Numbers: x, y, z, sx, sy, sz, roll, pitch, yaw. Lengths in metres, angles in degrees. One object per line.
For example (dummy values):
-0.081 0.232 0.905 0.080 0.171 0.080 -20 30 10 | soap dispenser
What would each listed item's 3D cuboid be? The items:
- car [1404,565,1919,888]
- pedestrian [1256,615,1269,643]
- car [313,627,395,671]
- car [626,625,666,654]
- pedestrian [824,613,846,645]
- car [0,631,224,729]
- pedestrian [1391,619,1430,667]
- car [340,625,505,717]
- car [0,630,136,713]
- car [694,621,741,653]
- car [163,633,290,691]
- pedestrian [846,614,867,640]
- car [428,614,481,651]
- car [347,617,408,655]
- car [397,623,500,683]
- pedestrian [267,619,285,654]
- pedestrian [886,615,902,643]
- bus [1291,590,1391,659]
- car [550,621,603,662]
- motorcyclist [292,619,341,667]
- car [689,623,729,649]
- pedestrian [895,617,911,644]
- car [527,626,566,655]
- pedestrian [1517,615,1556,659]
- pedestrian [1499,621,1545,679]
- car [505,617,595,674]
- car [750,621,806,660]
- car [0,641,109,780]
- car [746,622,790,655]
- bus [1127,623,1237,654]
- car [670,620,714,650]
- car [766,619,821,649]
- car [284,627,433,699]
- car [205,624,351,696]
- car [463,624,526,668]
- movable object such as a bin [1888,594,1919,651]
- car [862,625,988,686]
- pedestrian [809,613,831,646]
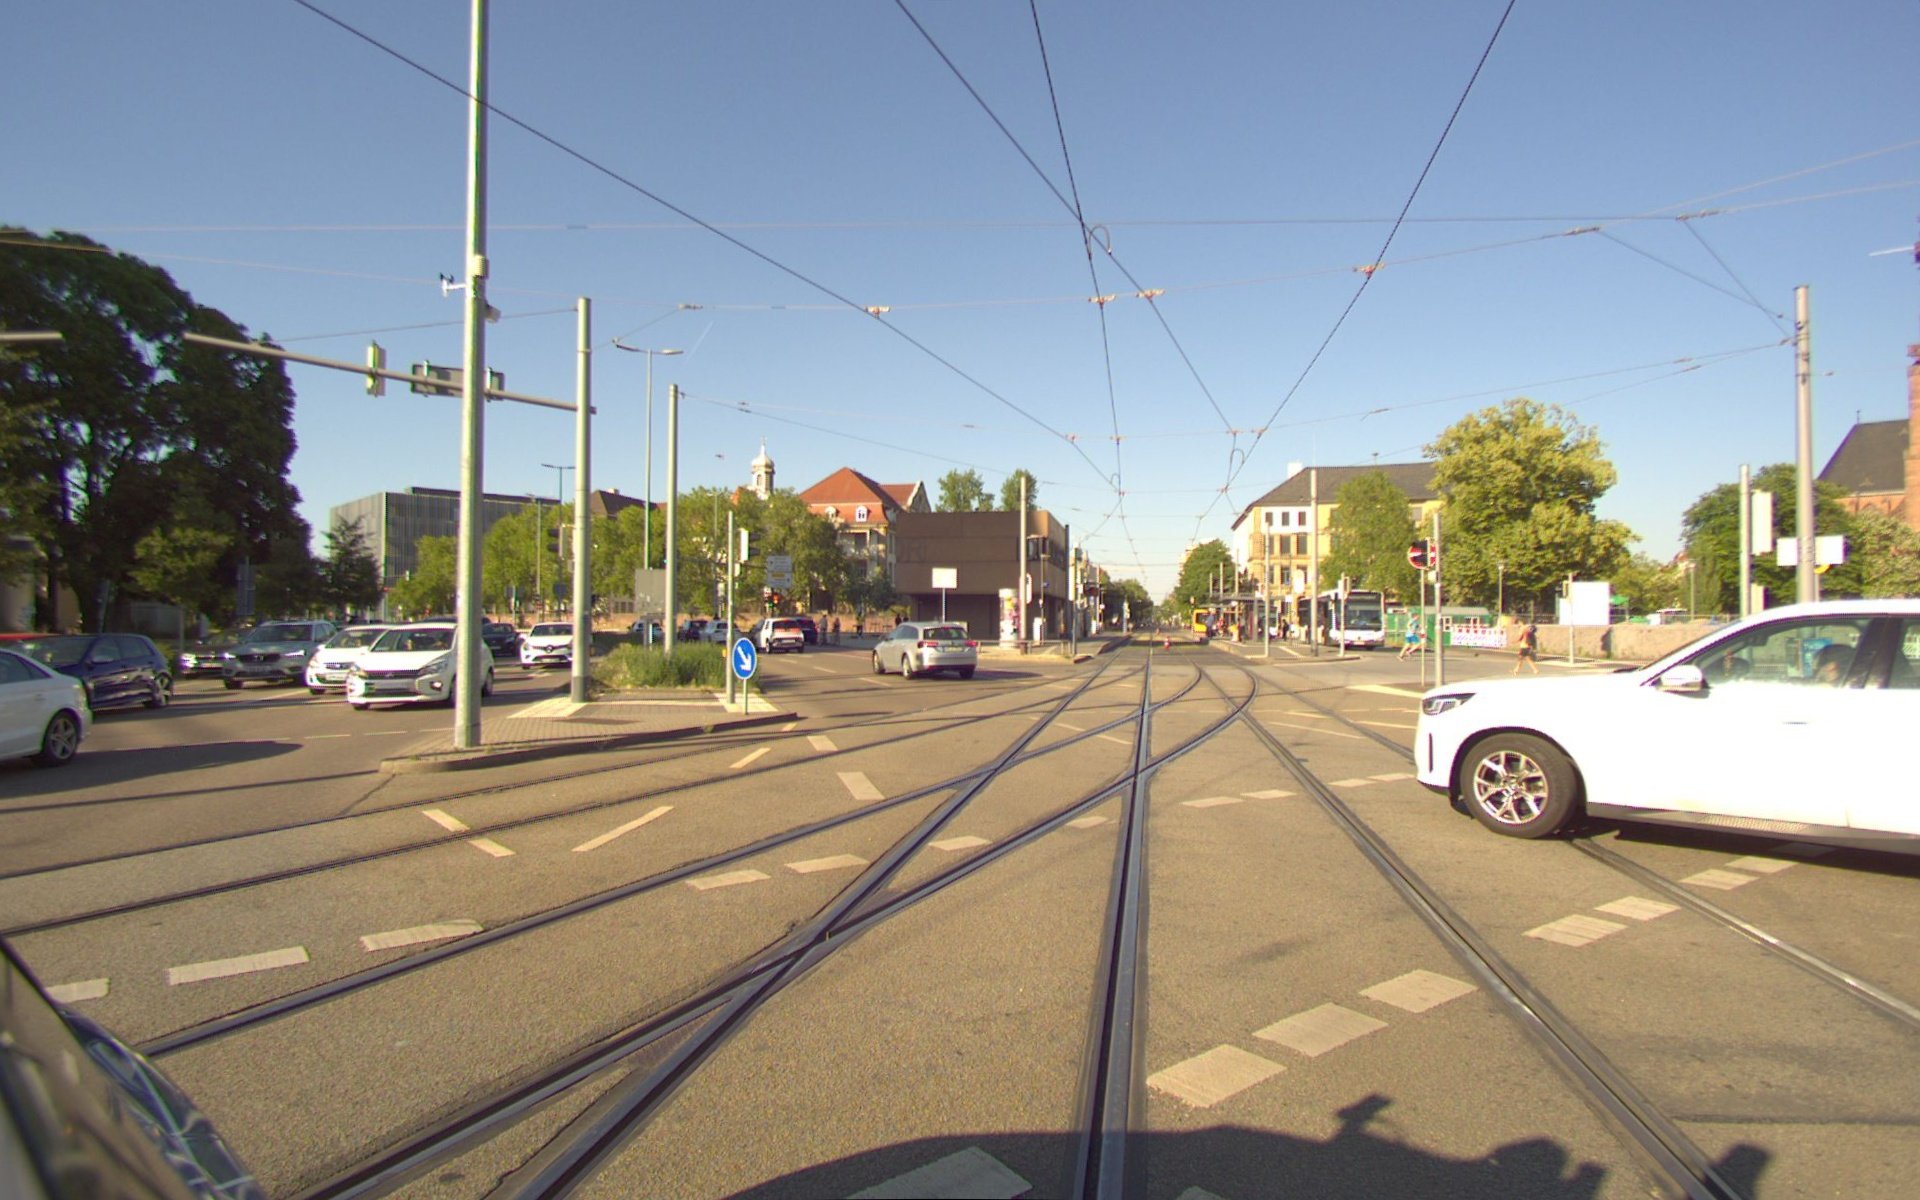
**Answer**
5.578 0.725 6.517 4.621 1.760 1.914 -1 -3 42 | car
18.919 1.828 63.237 0.492 1.714 0.501 -2 -1 -12 | pedestrian
-26.211 2.071 43.954 1.966 1.696 4.721 -2 -1 -17 | car
-19.739 2.451 63.604 1.827 1.642 3.883 -3 0 -25 | car
-7.062 1.636 57.118 0.791 1.782 0.975 -2 -1 -35 | pedestrian
-15.598 1.352 18.426 1.788 1.504 4.665 -1 -1 -12 | car
17.219 1.638 38.683 1.160 1.782 0.807 -2 -1 -33 | pedestrian
-9.949 1.245 19.055 1.693 1.504 3.879 0 -1 -11 | car
-19.049 1.401 20.936 1.726 1.475 4.031 0 0 -17 | car
-13.756 2.074 57.217 1.827 1.642 3.883 -3 0 -24 | car
-21.630 1.770 30.036 1.727 1.475 4.030 0 0 -15 | car
-6.760 1.761 65.876 0.791 1.579 1.182 -2 -1 -35 | pedestrian
-24.791 1.595 49.761 1.792 1.741 4.012 0 -2 -18 | car
-28.037 1.709 48.846 1.792 1.741 4.012 0 -2 -18 | car
-16.400 1.661 32.662 1.967 1.696 4.010 -3 -1 -12 | car
-33.870 1.789 50.084 0.556 1.674 0.594 -2 -1 -18 | pedestrian
-4.333 1.889 66.555 0.795 1.782 0.971 -3 -1 7 | pedestrian
20.445 1.250 55.204 2.811 3.218 12.617 -3 -1 11 | bus
-16.569 1.767 43.866 1.966 1.689 4.296 1 -2 -19 | car
-23.727 1.560 37.331 1.099 1.680 1.458 -2 -1 -16 | motorcyclist
-17.316 2.446 69.766 1.827 1.642 3.883 -3 0 -26 | car
-3.782 2.022 67.393 0.795 1.782 0.971 -3 -1 7 | pedestrian
-25.533 2.490 62.623 1.966 1.689 4.296 1 -2 -19 | car
23.403 1.496 41.082 1.041 1.699 0.729 -3 -1 -3 | pedestrian
17.292 1.537 31.136 1.056 1.699 0.719 -4 -1 41 | pedestrian
-12.960 1.407 32.235 1.967 1.689 4.294 1 -2 -12 | car
-8.189 1.780 45.278 1.692 1.643 3.883 -1 -1 -21 | car
-10.568 1.146 9.753 1.796 1.399 4.469 -1 -2 -13 | car
-12.469 2.456 65.544 1.965 2.029 4.013 1 -2 -24 | car
26.875 4.693 122.952 12.618 3.218 3.216 -3 -1 32 | bus
-16.699 2.159 62.905 1.827 1.642 3.883 -3 0 -26 | car
-9.960 2.026 60.263 1.833 1.642 4.049 -3 0 -31 | car
-13.473 1.375 22.932 1.755 1.475 3.925 1 -2 -13 | car
-17.201 1.449 25.756 1.966 1.619 4.012 -2 -1 -17 | car
-20.250 1.973 44.178 1.966 1.696 4.012 -2 -1 -17 | car
46.484 1.003 48.432 2.633 2.545 5.102 -4 -1 40 | movable object such as a bin
-1.036 1.423 27.043 1.815 1.434 4.446 -1 -1 -23 | car
-7.834 1.667 56.714 0.791 1.782 0.965 -2 -1 -35 | pedestrian
